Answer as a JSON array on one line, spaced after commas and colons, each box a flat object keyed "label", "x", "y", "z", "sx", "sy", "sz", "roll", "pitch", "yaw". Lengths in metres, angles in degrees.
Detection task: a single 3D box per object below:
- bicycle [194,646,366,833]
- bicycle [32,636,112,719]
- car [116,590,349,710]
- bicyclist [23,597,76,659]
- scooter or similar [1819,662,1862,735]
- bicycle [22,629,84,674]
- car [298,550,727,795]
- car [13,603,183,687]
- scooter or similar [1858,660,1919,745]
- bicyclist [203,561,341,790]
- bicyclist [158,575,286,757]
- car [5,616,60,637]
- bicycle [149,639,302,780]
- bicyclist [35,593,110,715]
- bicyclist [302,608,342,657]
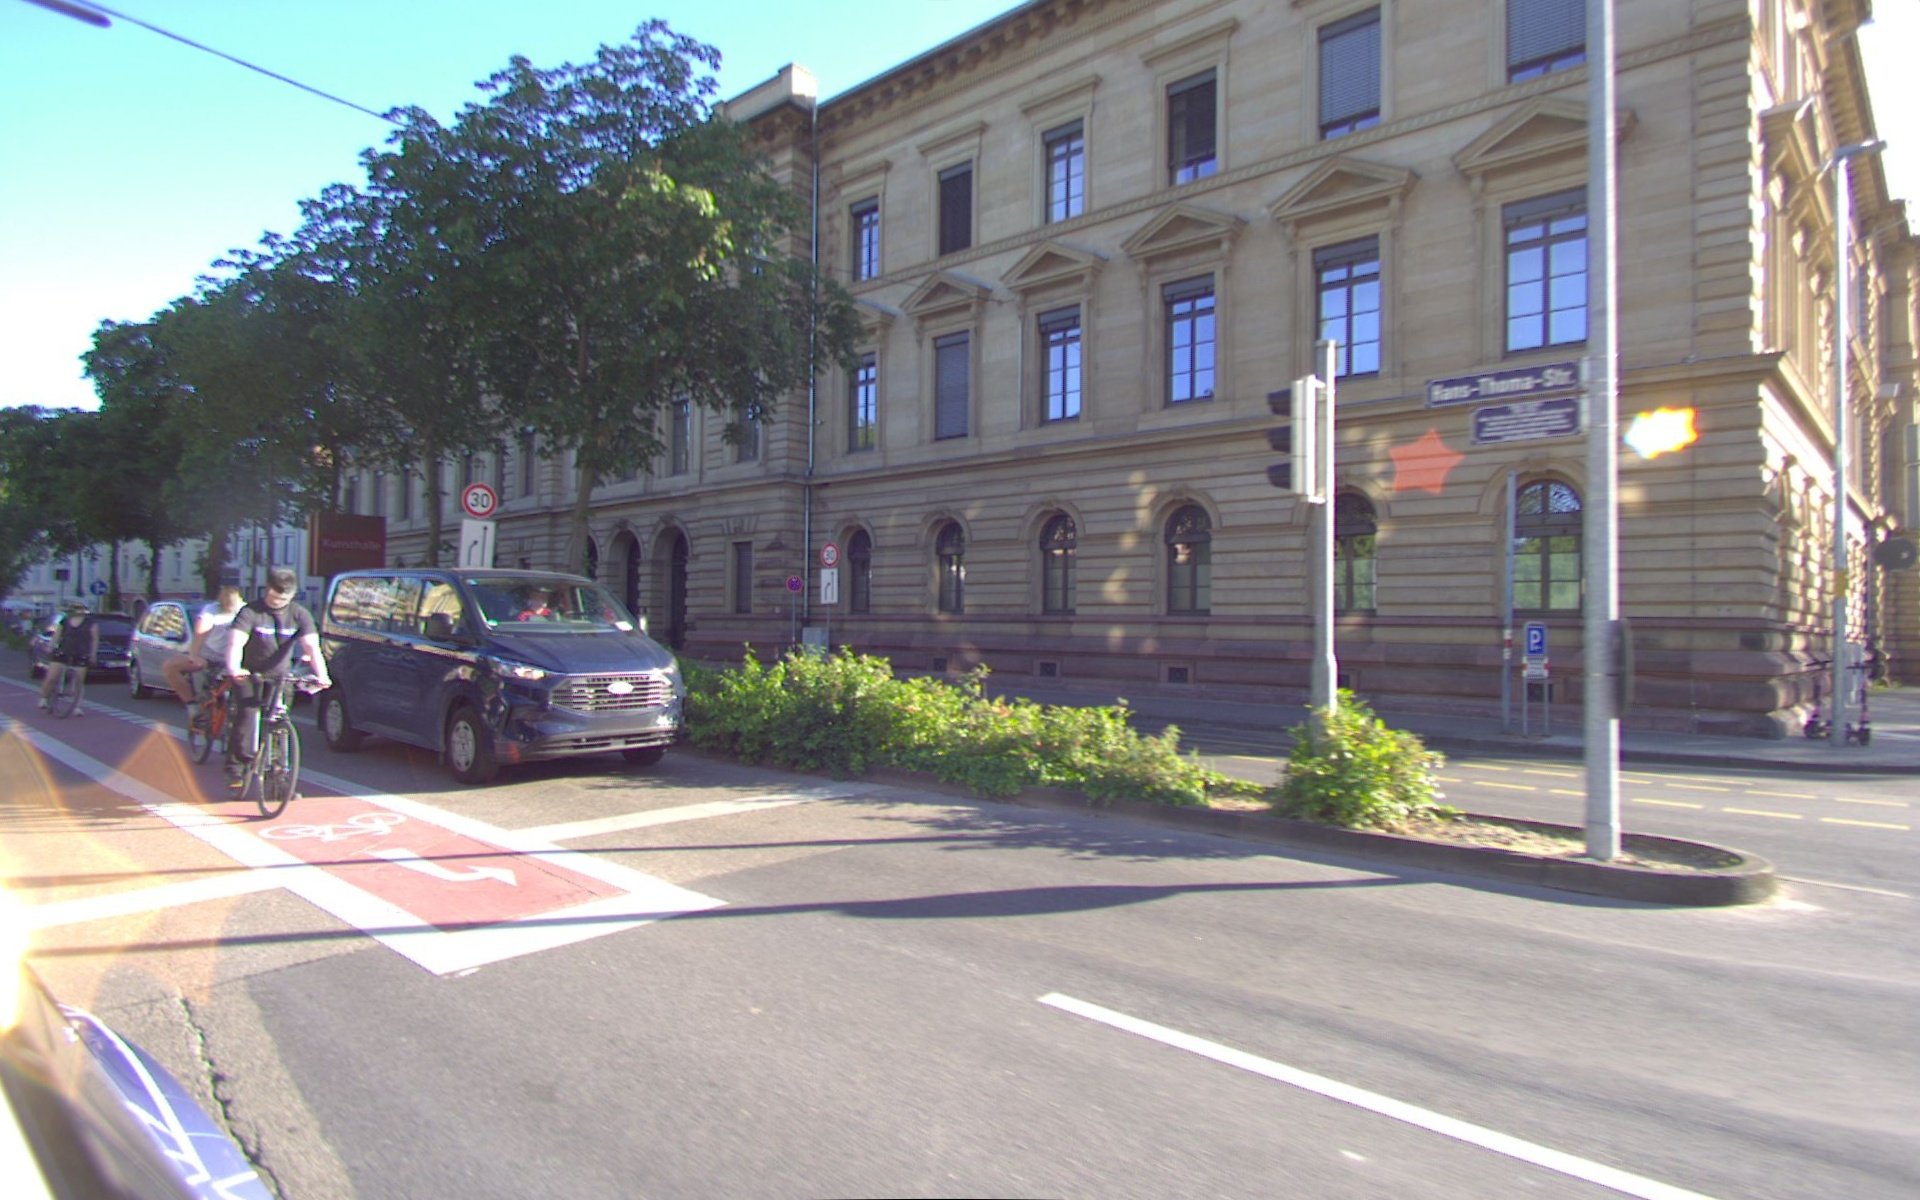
[{"label": "bicycle", "x": -5.130, "y": 0.952, "z": 7.574, "sx": 2.077, "sy": 1.164, "sz": 0.635, "roll": -1, "pitch": -2, "yaw": 44}, {"label": "bicycle", "x": -12.672, "y": 1.068, "z": 14.428, "sx": 1.753, "sy": 1.081, "sz": 0.662, "roll": -1, "pitch": -2, "yaw": 43}, {"label": "car", "x": -12.387, "y": 0.793, "z": 17.114, "sx": 4.742, "sy": 1.763, "sz": 1.971, "roll": -1, "pitch": -3, "yaw": 39}, {"label": "bicyclist", "x": -23.119, "y": 0.702, "z": 25.702, "sx": 1.230, "sy": 1.535, "sz": 0.858, "roll": -1, "pitch": 0, "yaw": 41}, {"label": "scooter or similar", "x": 13.624, "y": 1.506, "z": 15.658, "sx": 1.312, "sy": 1.060, "sz": 0.393, "roll": 3, "pitch": -3, "yaw": -45}, {"label": "bicycle", "x": -22.809, "y": 1.263, "z": 25.438, "sx": 2.452, "sy": 1.050, "sz": 0.861, "roll": -1, "pitch": -1, "yaw": 41}, {"label": "car", "x": -4.794, "y": 0.607, "z": 10.441, "sx": 5.030, "sy": 1.930, "sz": 2.046, "roll": 0, "pitch": -2, "yaw": 41}, {"label": "car", "x": -19.061, "y": 0.939, "z": 22.311, "sx": 4.731, "sy": 1.670, "sz": 1.974, "roll": 0, "pitch": -2, "yaw": 39}, {"label": "scooter or similar", "x": 14.101, "y": 1.487, "z": 14.855, "sx": 1.998, "sy": 1.197, "sz": 0.457, "roll": 2, "pitch": -2, "yaw": -19}, {"label": "bicyclist", "x": -5.224, "y": 0.546, "z": 7.685, "sx": 0.825, "sy": 1.620, "sz": 0.662, "roll": -1, "pitch": -3, "yaw": 44}, {"label": "bicyclist", "x": -6.995, "y": 0.603, "z": 9.596, "sx": 0.825, "sy": 1.620, "sz": 0.794, "roll": -1, "pitch": -3, "yaw": 44}, {"label": "car", "x": -72.230, "y": 2.083, "z": 78.798, "sx": 4.369, "sy": 1.583, "sz": 1.802, "roll": 0, "pitch": -2, "yaw": 28}, {"label": "bicycle", "x": -6.962, "y": 0.963, "z": 9.551, "sx": 1.970, "sy": 1.152, "sz": 0.819, "roll": -1, "pitch": -2, "yaw": 44}, {"label": "bicyclist", "x": -12.629, "y": 0.745, "z": 14.399, "sx": 0.887, "sy": 1.665, "sz": 0.665, "roll": -1, "pitch": -2, "yaw": 42}, {"label": "bicyclist", "x": -24.906, "y": 1.257, "z": 39.520, "sx": 1.285, "sy": 1.848, "sz": 0.871, "roll": 0, "pitch": -5, "yaw": 41}]
